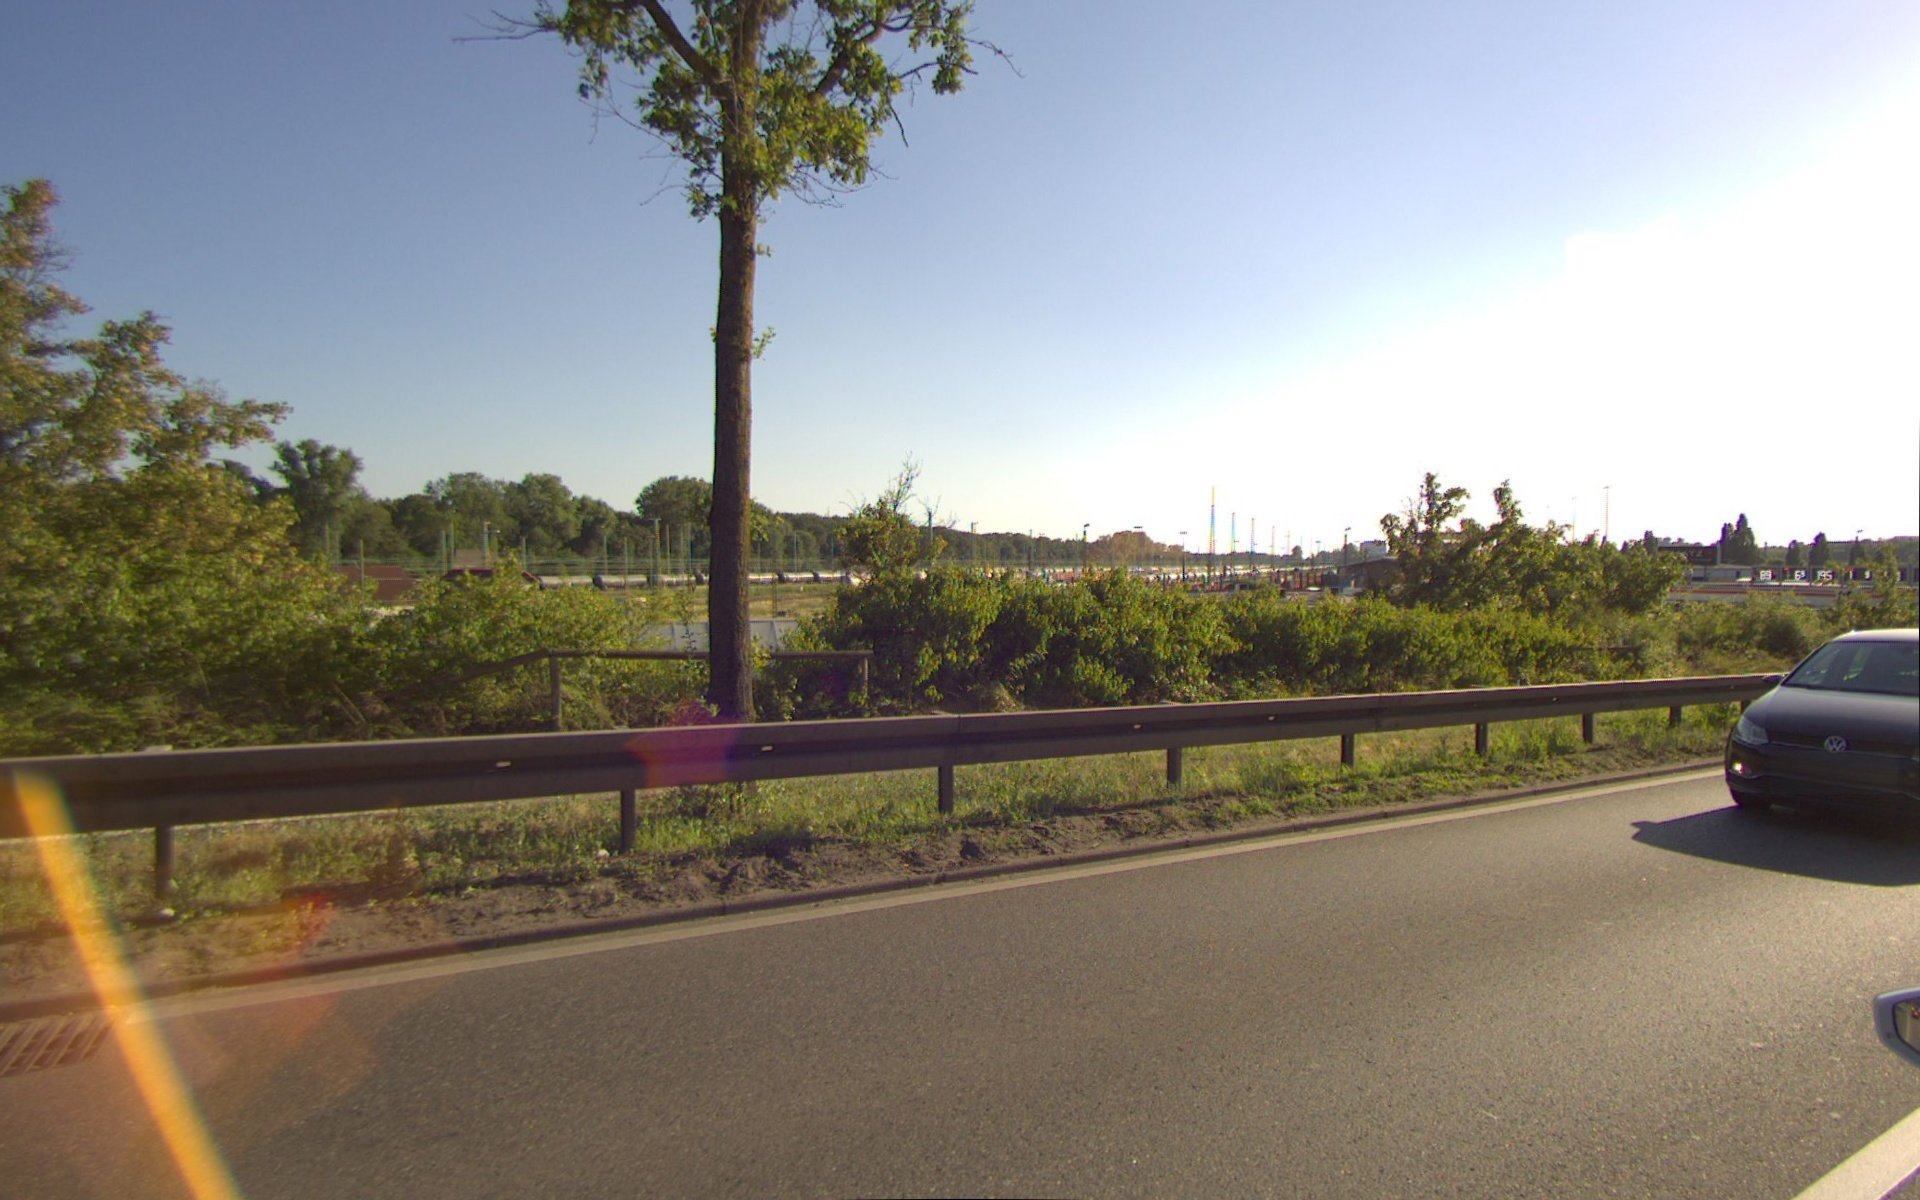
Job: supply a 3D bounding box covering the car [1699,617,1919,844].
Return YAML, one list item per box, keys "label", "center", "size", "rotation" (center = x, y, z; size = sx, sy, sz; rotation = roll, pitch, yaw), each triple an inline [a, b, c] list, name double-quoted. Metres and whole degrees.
- label: "car"
  center: [7.766, 0.910, 8.092]
  size: [3.817, 1.486, 1.686]
  rotation: [1, 0, -33]
